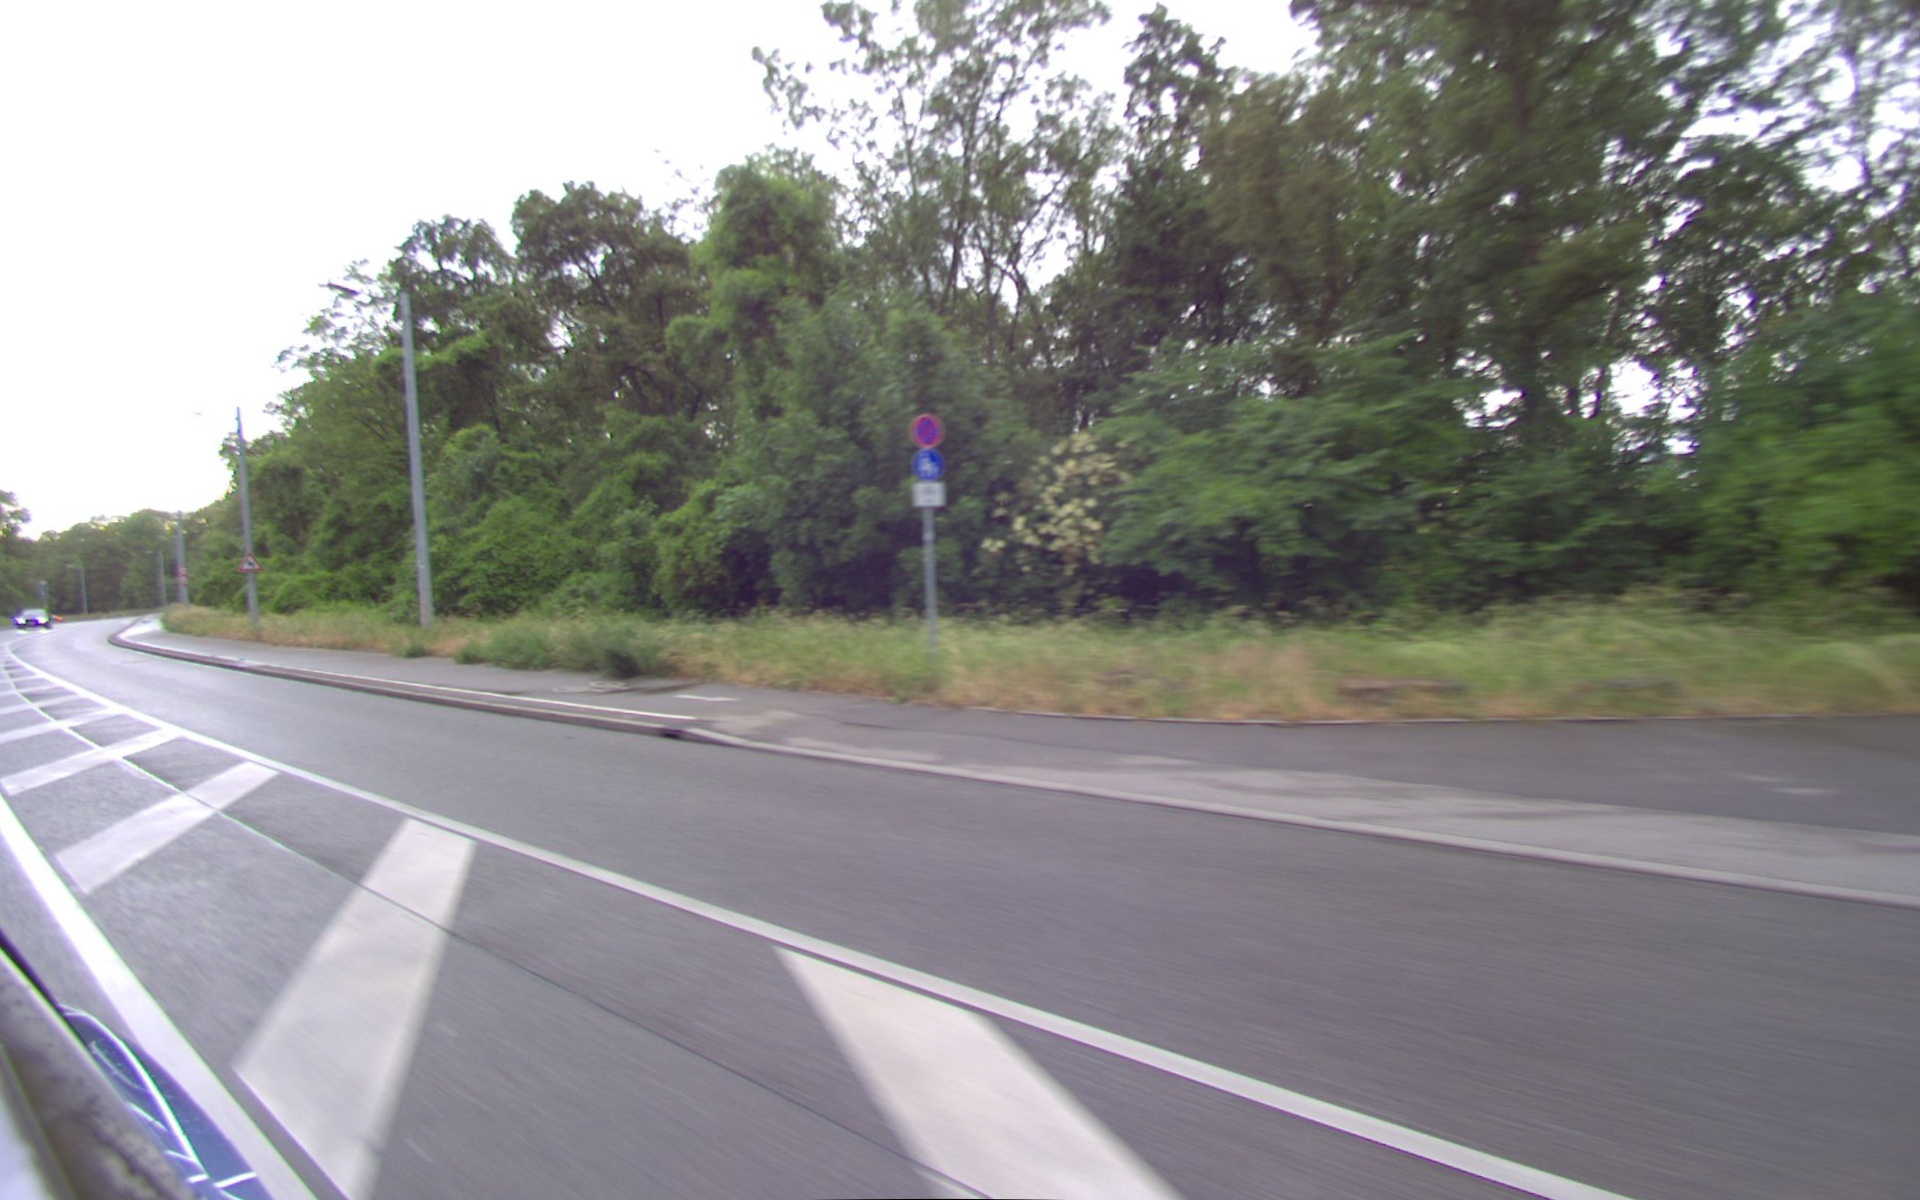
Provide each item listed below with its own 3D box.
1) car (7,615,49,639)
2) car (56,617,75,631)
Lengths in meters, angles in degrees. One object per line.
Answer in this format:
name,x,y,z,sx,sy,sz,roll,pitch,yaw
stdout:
car,-68.347,1.949,74.283,1.968,1.696,4.008,-2,0,-39
car,-142.124,3.782,160.790,4.001,2.029,1.971,-1,1,44
